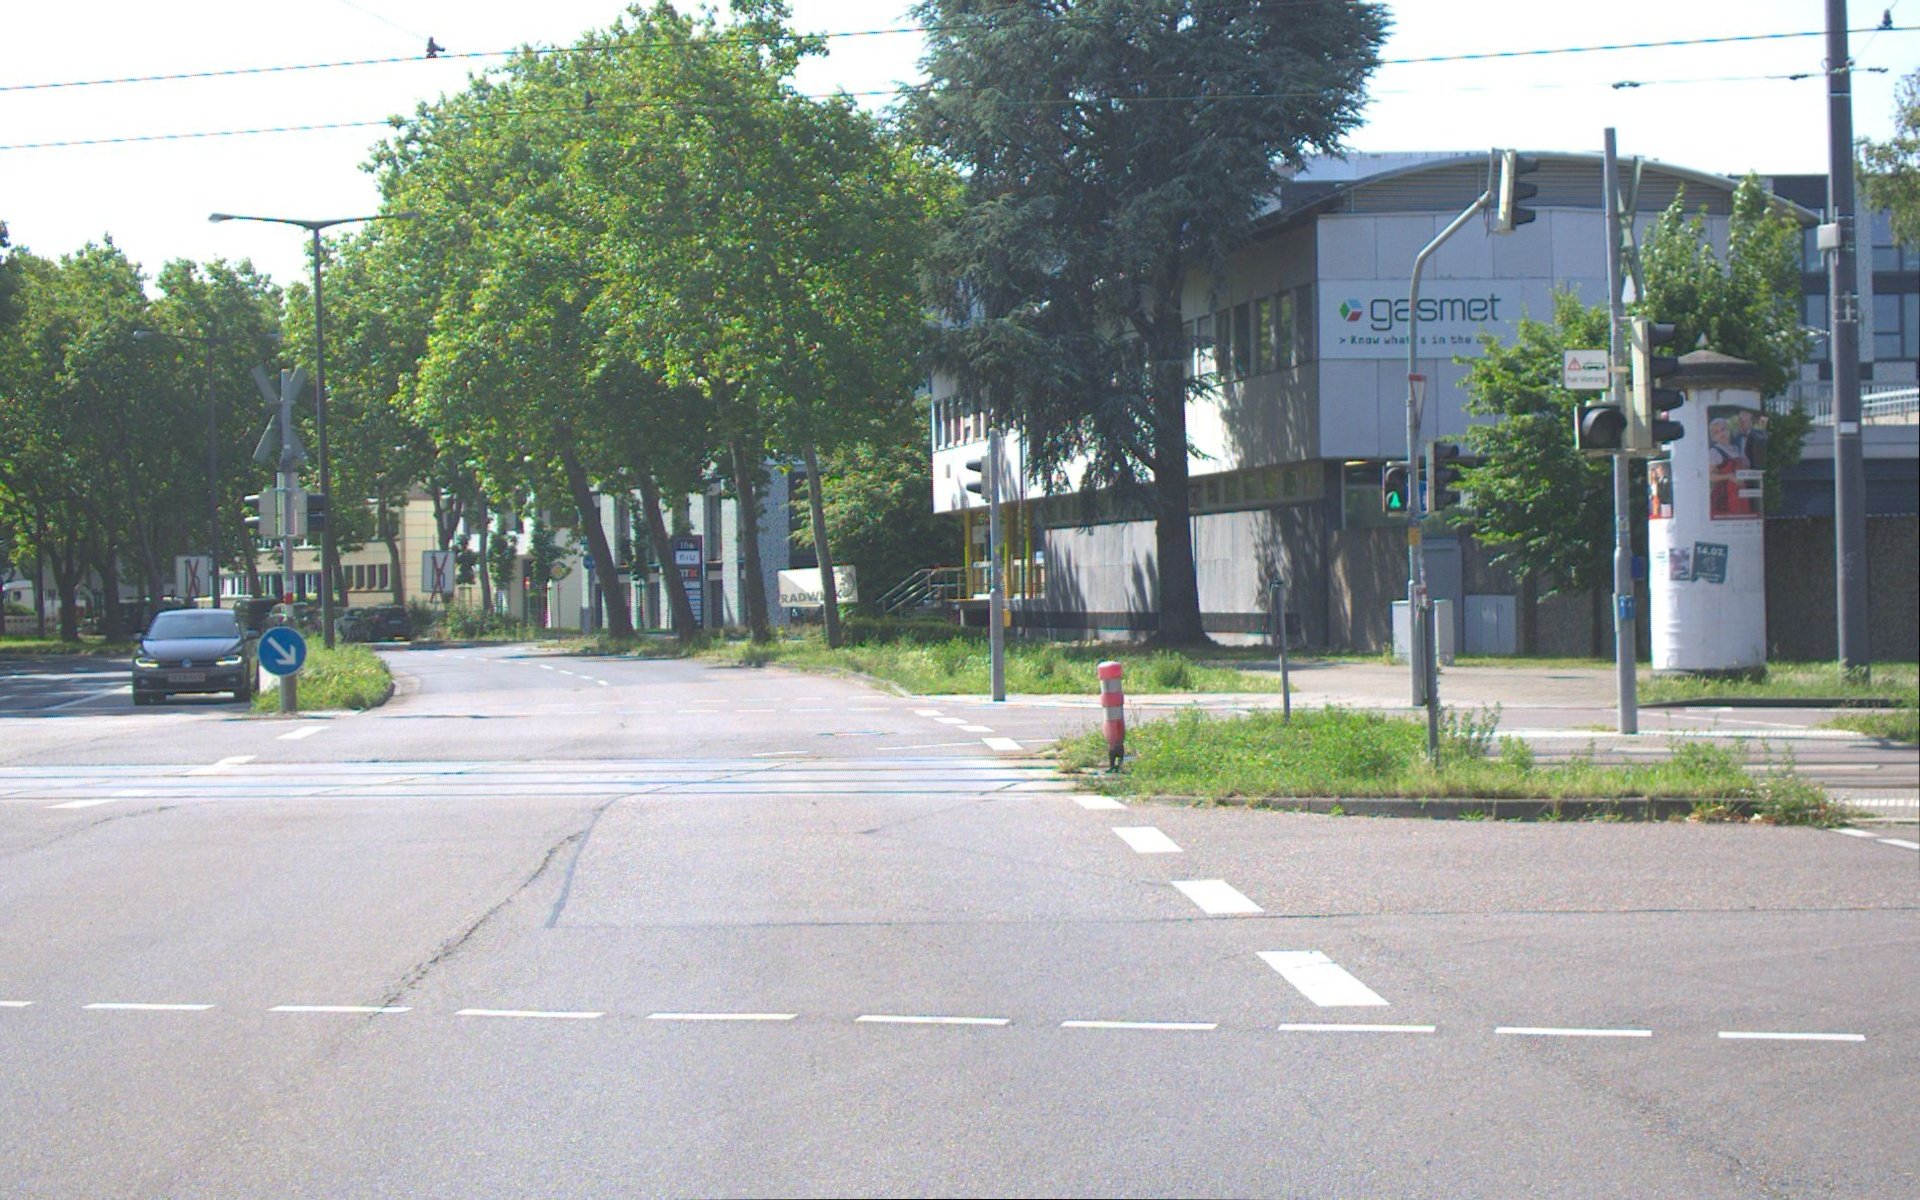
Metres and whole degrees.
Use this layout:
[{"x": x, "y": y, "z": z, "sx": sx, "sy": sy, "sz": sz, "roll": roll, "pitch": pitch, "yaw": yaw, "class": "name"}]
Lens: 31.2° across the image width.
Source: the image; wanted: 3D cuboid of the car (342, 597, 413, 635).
[{"x": -24.273, "y": 0.646, "z": 143.172, "sx": 1.706, "sy": 1.482, "sz": 4.720, "roll": -2, "pitch": 1, "yaw": -25, "class": "car"}]

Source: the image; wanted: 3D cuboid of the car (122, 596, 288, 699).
[{"x": -11.704, "y": 0.705, "z": 53.522, "sx": 1.694, "sy": 1.503, "sz": 4.129, "roll": -1, "pitch": 0, "yaw": -1, "class": "car"}]

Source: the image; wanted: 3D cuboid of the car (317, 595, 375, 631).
[{"x": -26.507, "y": 0.565, "z": 148.333, "sx": 1.706, "sy": 1.482, "sz": 4.102, "roll": -1, "pitch": 0, "yaw": -21, "class": "car"}]
